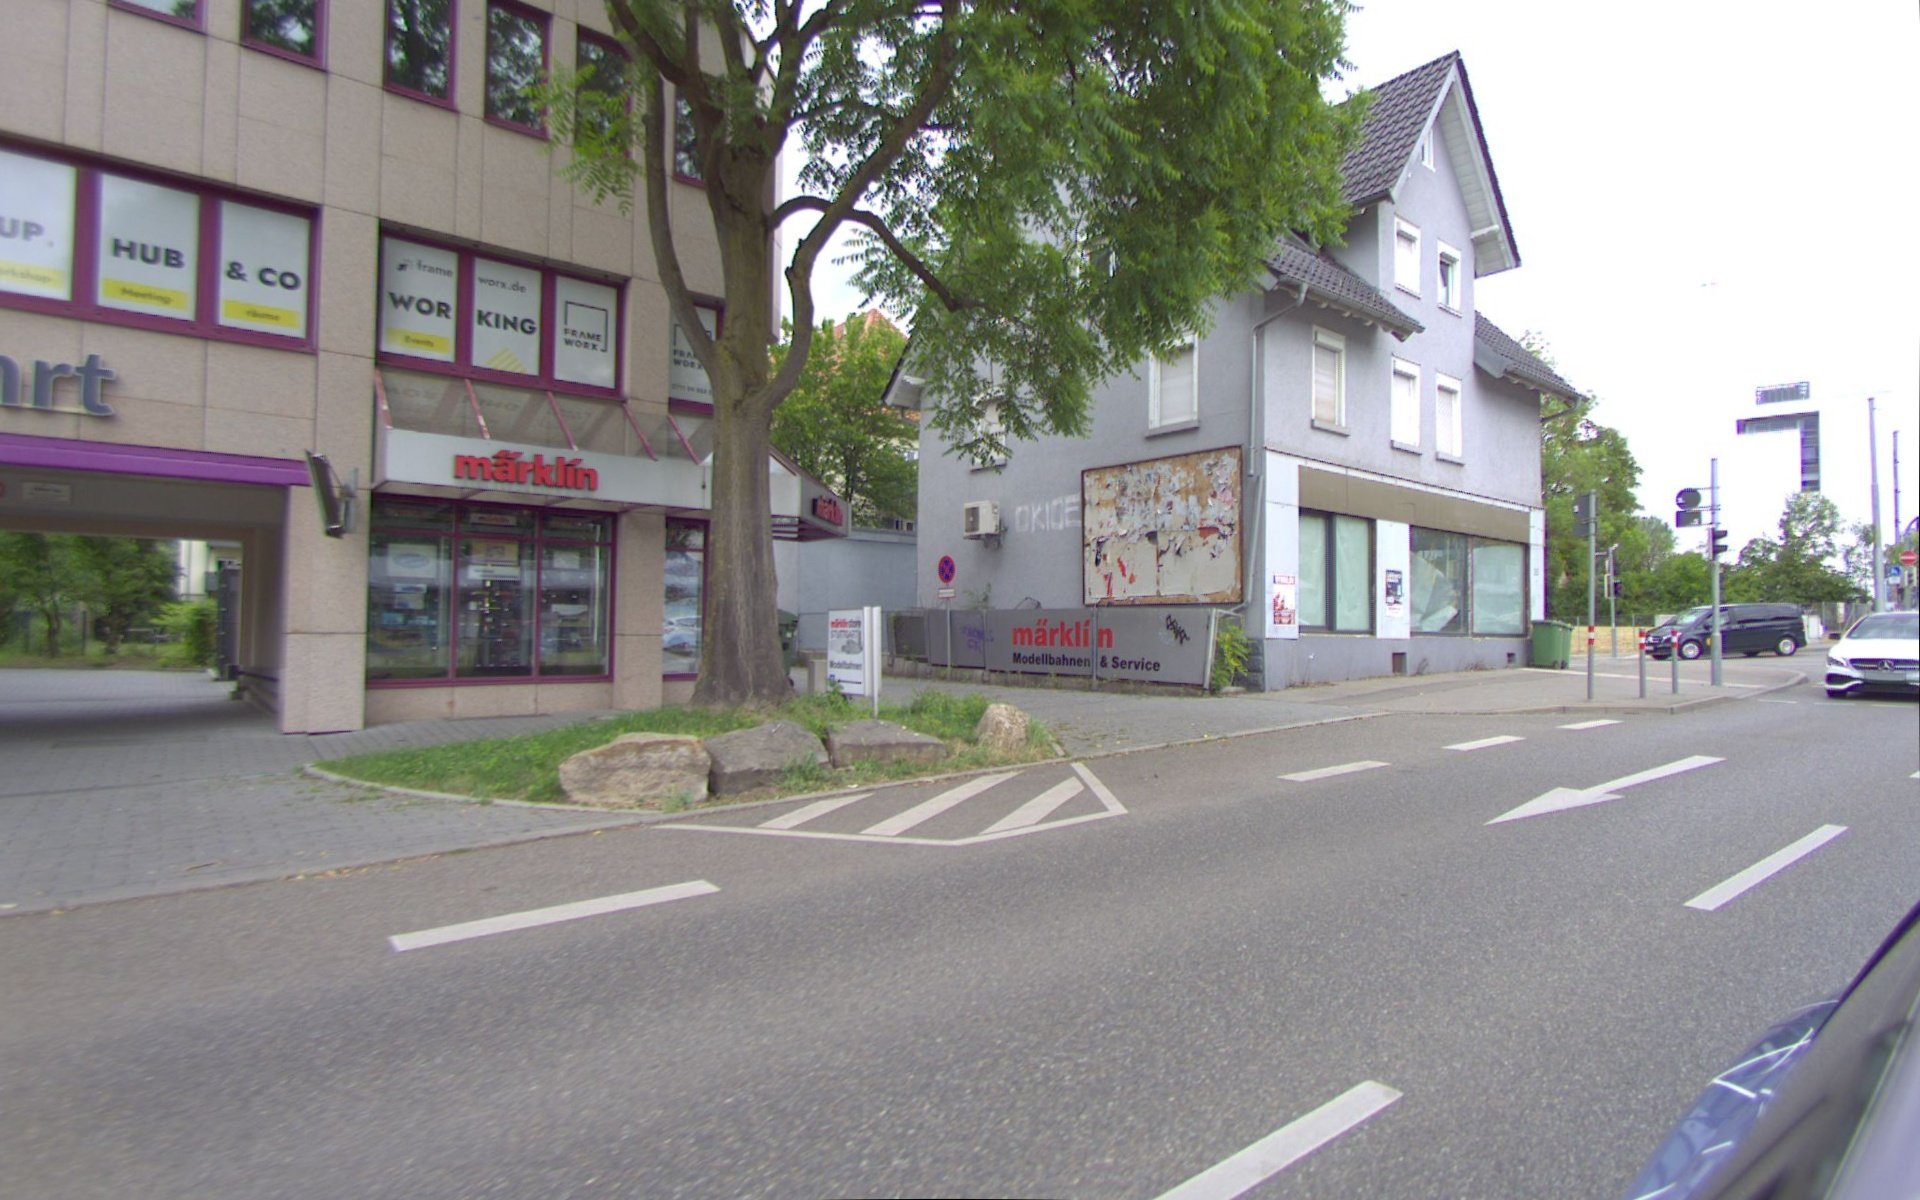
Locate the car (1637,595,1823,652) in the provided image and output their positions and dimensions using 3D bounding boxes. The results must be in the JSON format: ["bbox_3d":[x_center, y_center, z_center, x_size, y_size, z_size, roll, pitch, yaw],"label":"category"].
[{"bbox_3d":[26.951,0.811,35.566,4.787,1.912,2.014,-1,0,4],"label":"car"}]

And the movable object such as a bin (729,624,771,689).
[{"bbox_3d":[-3.593,0.955,17.327,0.550,1.080,0.489,0,-1,-40],"label":"movable object such as a bin"}]

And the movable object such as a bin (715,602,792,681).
[{"bbox_3d":[-3.901,0.762,19.122,1.130,1.431,0.907,0,-1,-40],"label":"movable object such as a bin"}]

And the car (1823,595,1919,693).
[{"bbox_3d":[16.515,0.673,17.278,4.613,1.491,1.798,-1,0,-38],"label":"car"}]

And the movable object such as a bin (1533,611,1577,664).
[{"bbox_3d":[12.958,0.803,22.032,0.697,1.118,0.610,0,-1,-39],"label":"movable object such as a bin"}]

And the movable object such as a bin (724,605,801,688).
[{"bbox_3d":[-3.571,0.811,18.286,1.067,1.431,0.886,0,-1,-40],"label":"movable object such as a bin"}]

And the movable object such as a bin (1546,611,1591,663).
[{"bbox_3d":[13.609,0.814,22.634,0.697,1.118,0.627,0,-1,-39],"label":"movable object such as a bin"}]

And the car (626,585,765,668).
[{"bbox_3d":[-7.190,0.671,27.247,2.080,2.039,4.282,0,0,-38],"label":"car"}]
